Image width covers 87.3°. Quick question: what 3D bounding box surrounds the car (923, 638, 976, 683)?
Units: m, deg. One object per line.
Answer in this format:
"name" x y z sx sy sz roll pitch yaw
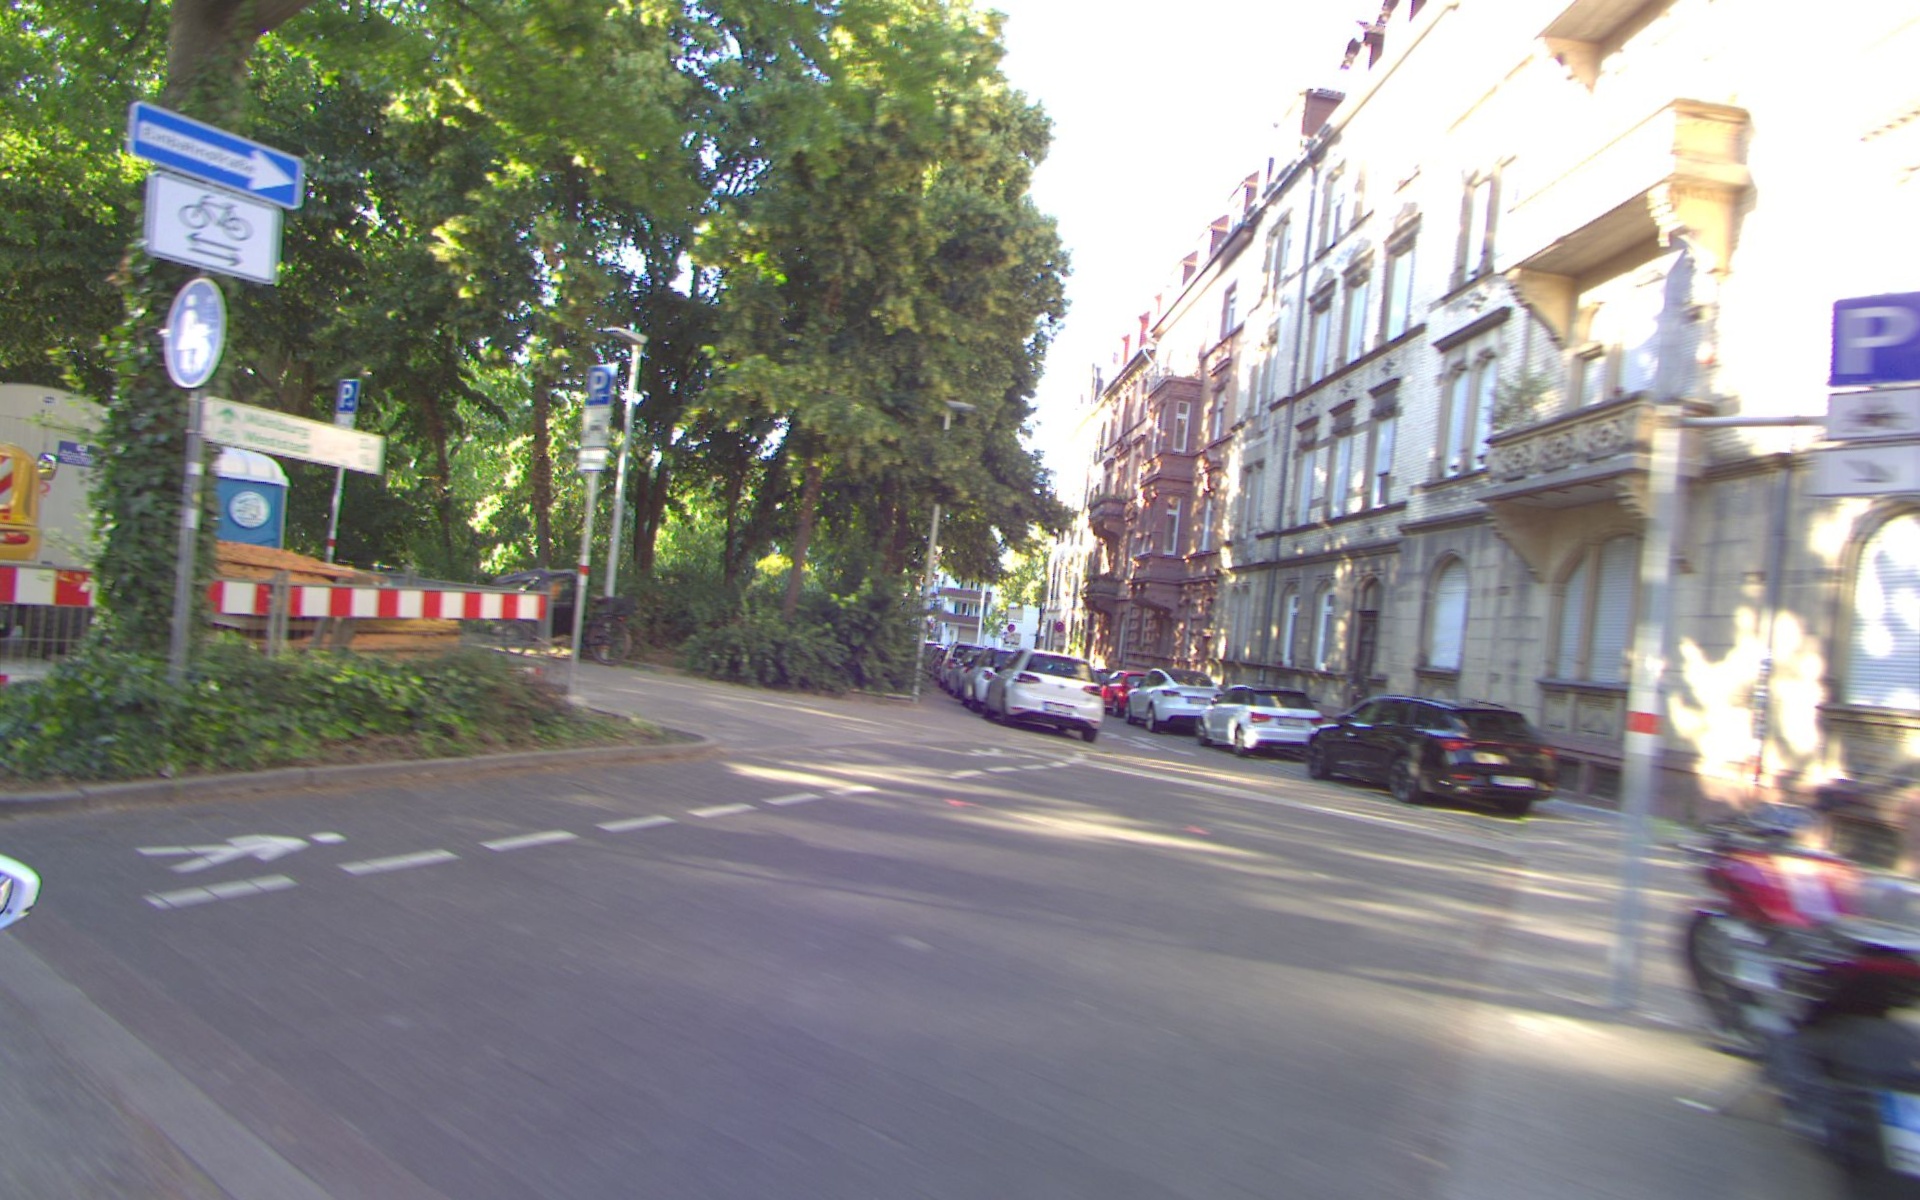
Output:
"car" -0.508 2.716 44.596 1.849 1.601 4.004 10 -5 -4

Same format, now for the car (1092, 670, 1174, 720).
"car" 5.495 3.007 32.383 1.739 1.393 4.004 3 -3 -3

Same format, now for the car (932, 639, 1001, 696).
"car" 0.177 2.396 35.619 1.849 1.601 4.004 10 -5 -4

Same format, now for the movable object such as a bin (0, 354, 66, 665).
"movable object such as a bin" -10.084 -0.963 9.571 3.071 2.731 1.989 5 -1 45

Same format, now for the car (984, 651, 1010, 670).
"car" 3.008 4.971 82.486 1.739 1.393 4.004 3 -3 -3

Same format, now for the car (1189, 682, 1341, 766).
"car" 6.157 2.480 20.804 1.739 1.393 4.004 3 -3 -3

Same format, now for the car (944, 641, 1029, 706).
"car" 0.696 2.152 29.535 1.849 1.478 4.004 10 -5 -4

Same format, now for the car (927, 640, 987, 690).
"car" -0.182 2.593 39.821 1.849 1.601 4.004 10 -5 -4

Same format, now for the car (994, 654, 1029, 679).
"car" 3.169 4.092 62.325 1.739 1.393 4.004 3 -3 -3

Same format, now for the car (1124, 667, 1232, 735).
"car" 5.618 2.591 26.397 1.739 1.537 4.004 3 -3 -3

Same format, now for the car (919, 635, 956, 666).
"car" -1.480 3.237 63.919 1.849 1.601 4.004 10 -5 -4

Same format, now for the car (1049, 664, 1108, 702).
"car" 4.822 3.378 41.307 1.739 1.393 4.004 3 -3 -3

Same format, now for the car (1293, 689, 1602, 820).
"car" 6.697 2.089 14.470 1.964 1.393 4.368 3 -3 -6

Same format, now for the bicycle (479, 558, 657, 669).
"bicycle" -5.596 0.194 14.384 2.107 1.301 1.027 7 1 19

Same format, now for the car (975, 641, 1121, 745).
"car" 1.505 1.703 18.753 1.849 1.426 4.004 10 -5 -4

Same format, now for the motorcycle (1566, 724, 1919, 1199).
"motorcycle" 2.903 1.216 3.438 0.924 1.357 2.373 6 -2 22

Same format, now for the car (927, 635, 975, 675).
"car" -0.494 2.781 50.155 1.849 1.601 4.004 10 -5 -4

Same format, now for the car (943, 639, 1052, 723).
"car" 0.762 1.873 23.359 1.849 1.478 4.004 10 -5 -4
